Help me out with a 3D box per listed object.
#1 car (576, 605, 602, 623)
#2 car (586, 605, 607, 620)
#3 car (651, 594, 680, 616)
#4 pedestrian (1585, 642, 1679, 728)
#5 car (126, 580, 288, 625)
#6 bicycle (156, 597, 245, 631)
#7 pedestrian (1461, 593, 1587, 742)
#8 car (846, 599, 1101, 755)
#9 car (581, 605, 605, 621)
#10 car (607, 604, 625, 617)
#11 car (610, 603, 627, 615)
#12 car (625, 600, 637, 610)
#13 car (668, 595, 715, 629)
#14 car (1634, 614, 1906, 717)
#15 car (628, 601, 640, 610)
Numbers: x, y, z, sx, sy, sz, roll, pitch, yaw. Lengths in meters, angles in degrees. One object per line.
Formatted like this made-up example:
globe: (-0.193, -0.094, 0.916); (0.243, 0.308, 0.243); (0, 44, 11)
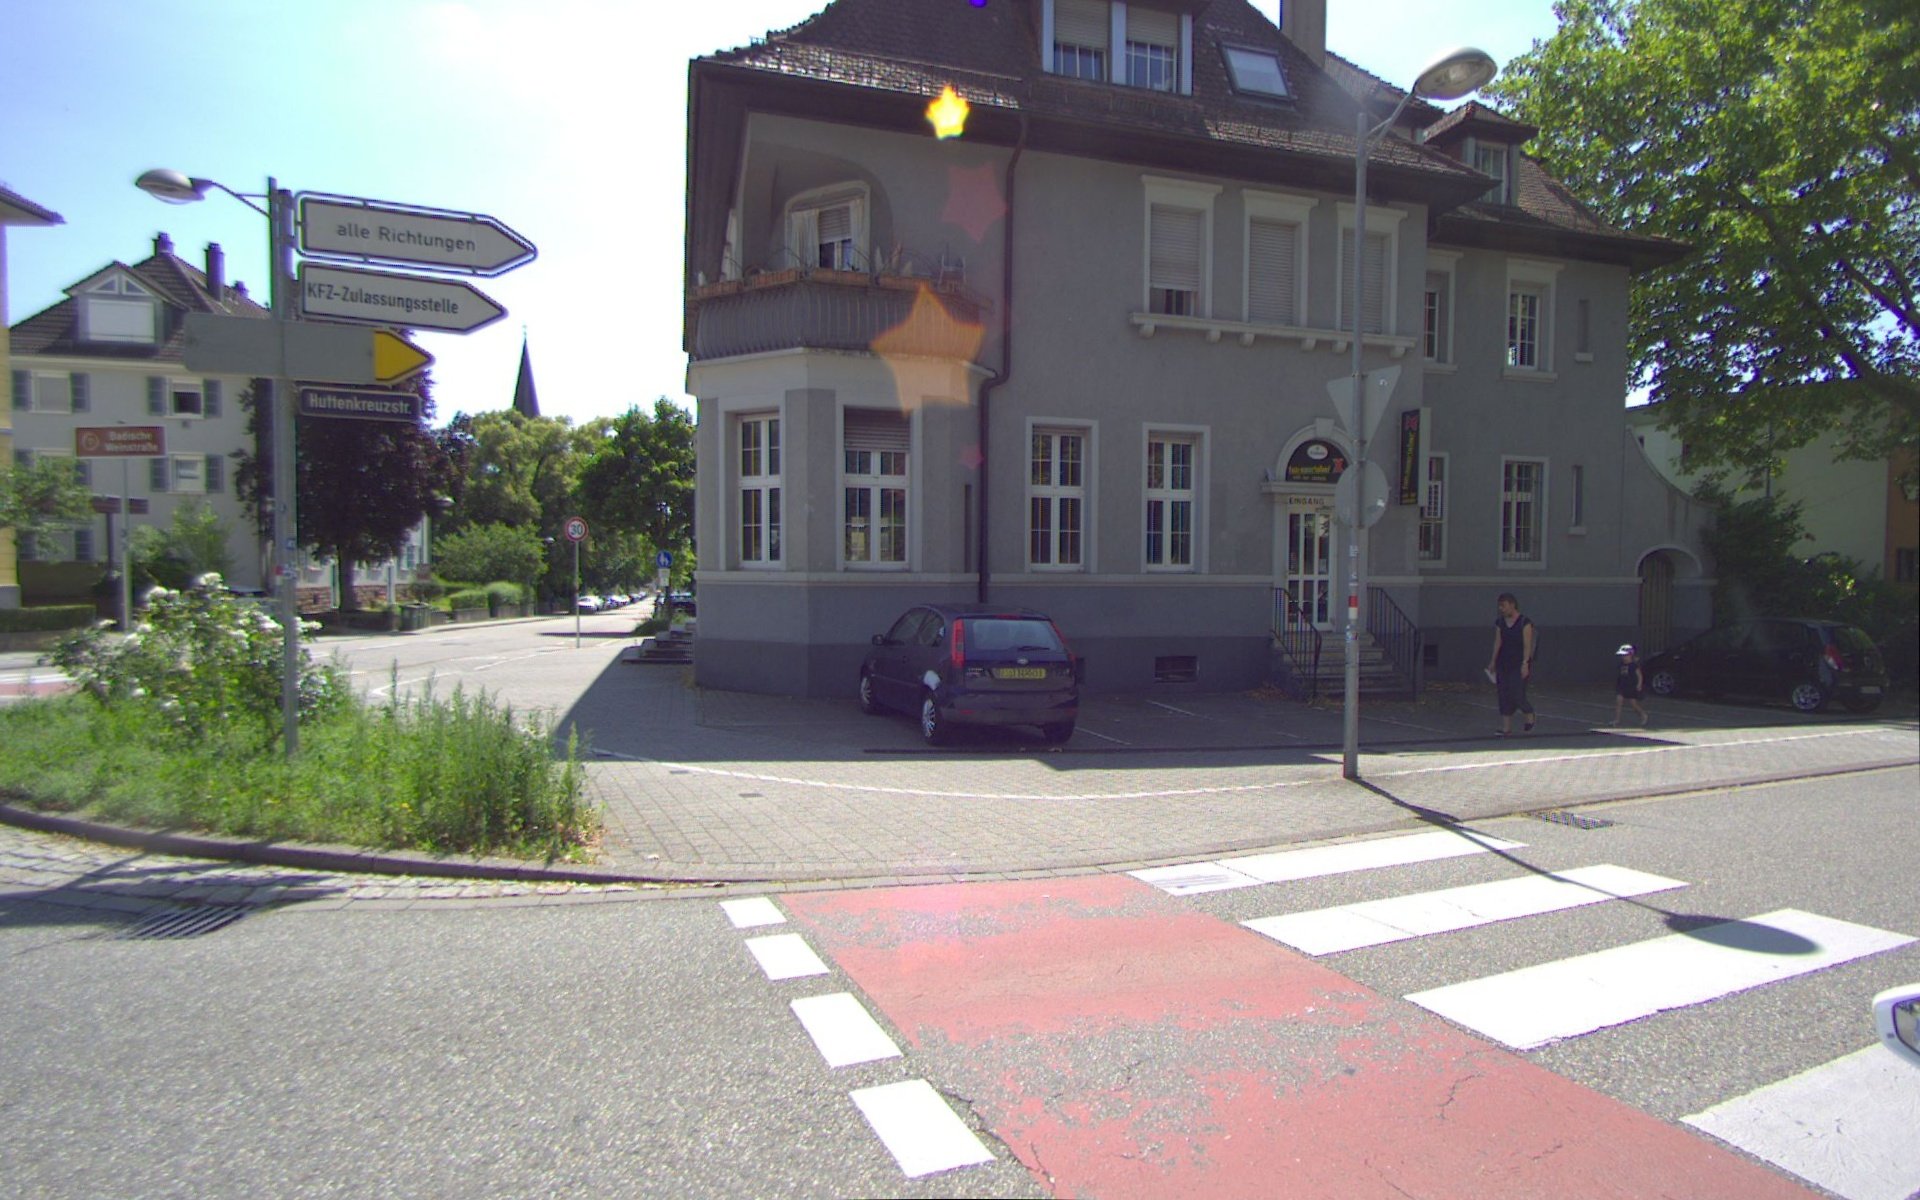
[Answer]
car: (-32.849, 1.227, 89.029); (1.781, 1.472, 3.986); (1, 0, -16)
car: (-37.113, 1.242, 102.618); (1.781, 1.472, 3.986); (1, 0, -16)
car: (-21.879, 0.376, 74.476); (1.968, 1.529, 4.402); (1, 0, -17)
pedestrian: (9.551, 1.188, 14.292); (0.885, 1.137, 0.751); (1, 0, -25)
car: (-27.587, 0.105, 36.986); (4.357, 1.529, 1.988); (1, 0, -24)
bicycle: (-26.301, 0.490, 34.821); (2.352, 1.154, 0.665); (1, 0, -21)
pedestrian: (7.041, 0.817, 12.558); (1.097, 1.765, 0.869); (1, 0, -25)
car: (-0.026, 0.757, 11.766); (1.698, 1.480, 3.774); (1, 0, -21)
car: (-34.560, 1.210, 94.641); (1.781, 1.472, 3.986); (1, 0, -16)
car: (-41.566, 1.269, 121.479); (1.781, 1.472, 3.986); (1, 0, -16)
car: (-43.259, 1.159, 127.370); (1.781, 1.472, 3.986); (1, 0, -16)
car: (-53.861, 0.827, 164.463); (1.781, 1.472, 3.986); (1, 0, -16)
car: (-13.041, 0.543, 48.634); (1.968, 1.529, 4.402); (1, 0, -17)
car: (14.322, 1.082, 17.973); (1.698, 1.567, 3.375); (1, 0, -21)
car: (-57.355, 0.978, 176.725); (1.781, 1.472, 3.986); (1, 0, -16)
